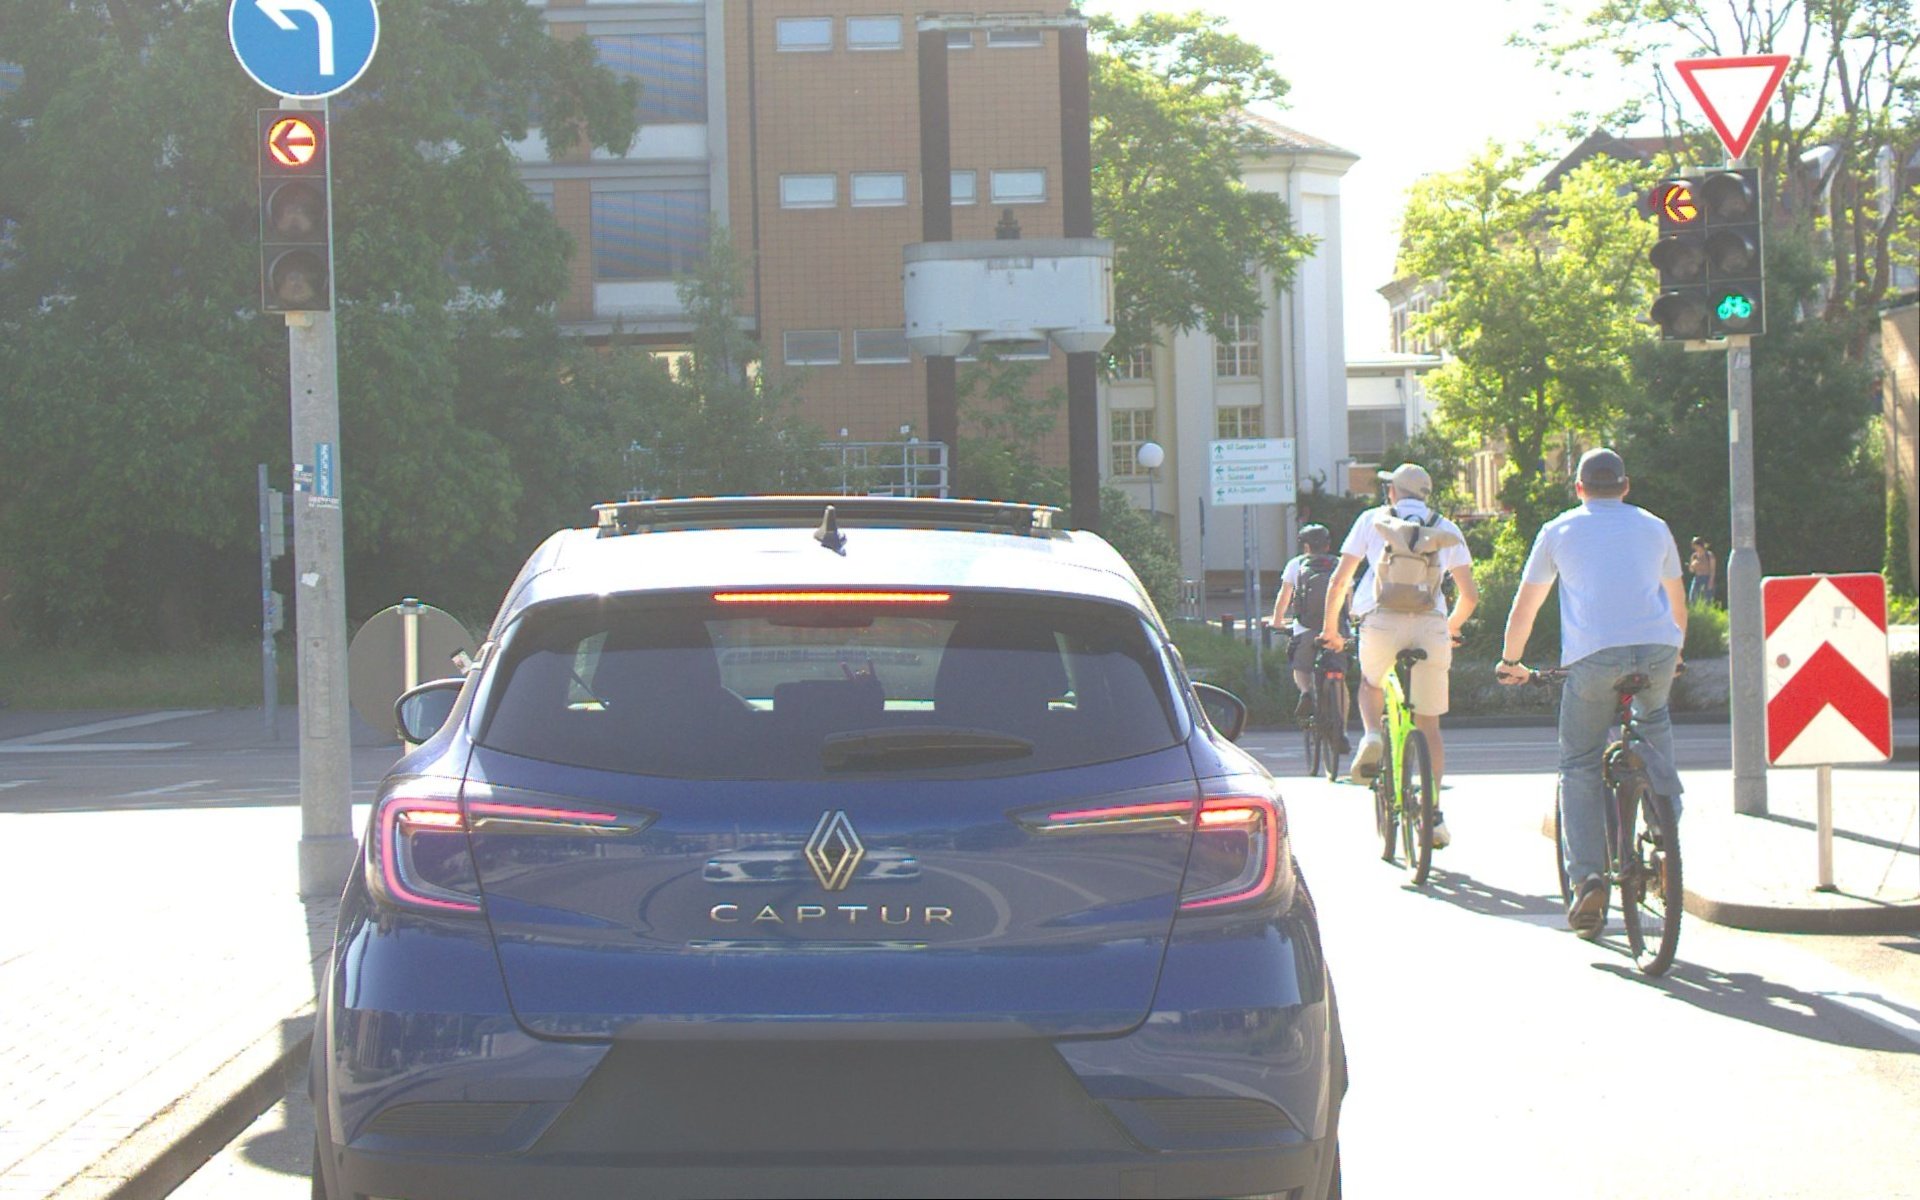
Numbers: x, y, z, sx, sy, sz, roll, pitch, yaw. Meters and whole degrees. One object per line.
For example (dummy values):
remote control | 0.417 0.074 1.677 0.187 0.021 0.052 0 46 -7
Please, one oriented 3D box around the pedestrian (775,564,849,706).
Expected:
pedestrian | -1.905 0.447 44.434 0.734 1.810 0.731 1 0 17

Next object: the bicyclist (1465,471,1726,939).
bicyclist | 2.282 0.359 12.440 0.719 1.611 0.978 -1 1 -1

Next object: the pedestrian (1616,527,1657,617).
pedestrian | 12.427 -0.507 63.154 0.676 1.637 0.735 1 0 15

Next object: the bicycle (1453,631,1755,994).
bicycle | 2.291 0.721 12.449 0.716 1.161 1.870 -1 1 0

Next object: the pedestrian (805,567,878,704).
pedestrian | -1.558 0.462 45.207 0.734 1.776 0.731 1 0 17

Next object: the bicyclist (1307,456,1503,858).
bicyclist | 2.011 0.246 15.645 0.719 1.756 0.978 -1 1 -1

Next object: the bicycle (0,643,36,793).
bicycle | -8.038 0.968 27.528 0.746 1.161 1.870 -3 1 -1

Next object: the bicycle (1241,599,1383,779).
bicycle | 2.416 0.593 23.793 0.746 1.161 1.870 -1 1 -1

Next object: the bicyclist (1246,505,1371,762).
bicyclist | 2.404 0.222 23.776 0.719 1.729 0.978 -1 1 -1

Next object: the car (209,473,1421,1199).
car | -0.252 0.599 7.279 1.876 1.612 3.798 1 1 -1

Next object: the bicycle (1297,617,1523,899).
bicycle | 2.023 0.684 15.687 0.746 1.161 1.870 -1 1 -1

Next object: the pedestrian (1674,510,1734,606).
pedestrian | 12.778 -0.718 59.050 0.734 1.637 0.677 0 1 -43

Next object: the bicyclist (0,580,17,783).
bicyclist | -8.048 0.666 27.439 0.719 1.615 0.978 -2 1 -1
